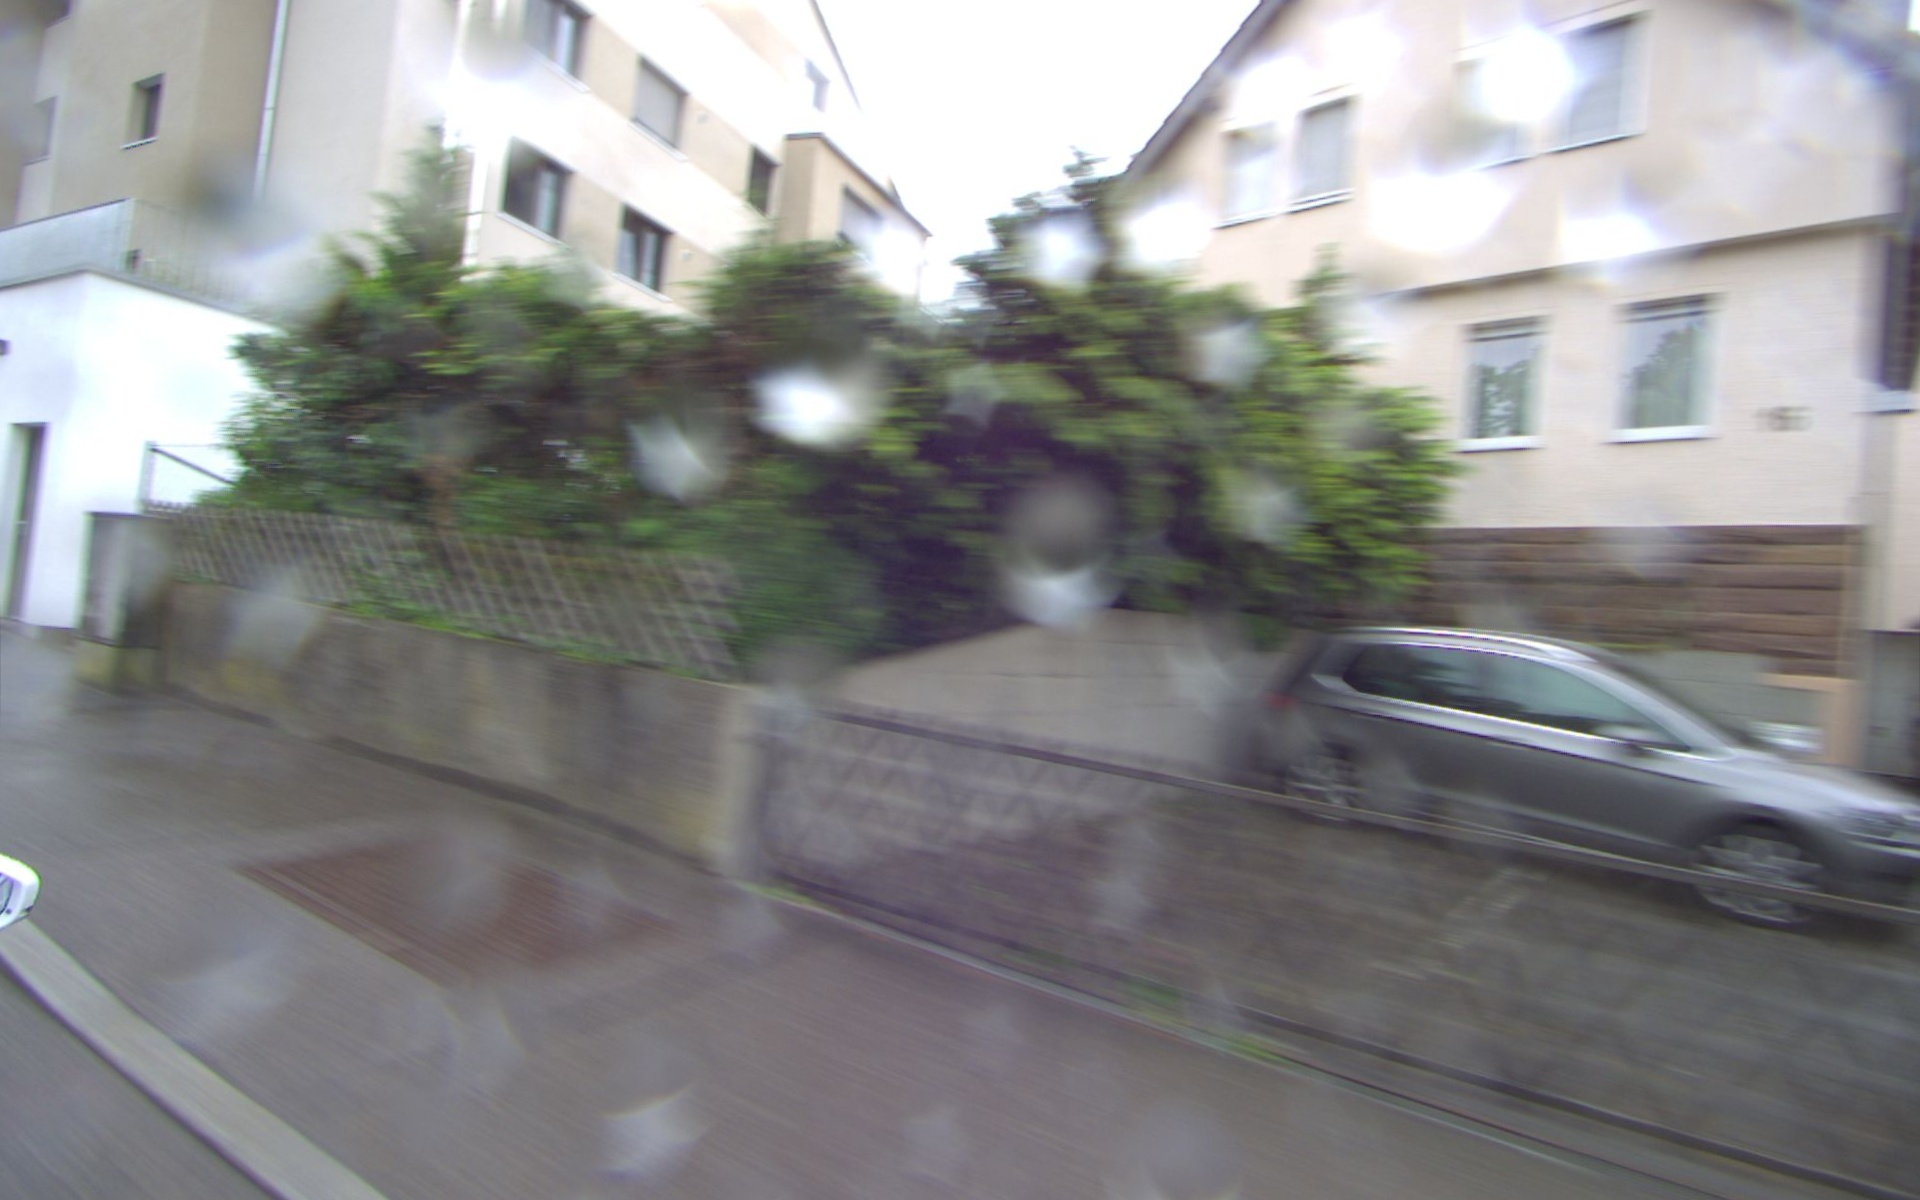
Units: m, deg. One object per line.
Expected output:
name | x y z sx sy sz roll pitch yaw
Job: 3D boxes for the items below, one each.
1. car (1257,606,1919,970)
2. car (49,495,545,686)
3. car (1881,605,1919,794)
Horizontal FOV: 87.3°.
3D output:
car | 4.614 1.134 7.433 4.089 1.673 1.892 6 -1 42
car | -6.934 -0.017 10.860 1.971 1.474 3.985 6 -2 40
car | 14.499 1.447 13.449 2.265 2.728 6.253 7 1 36
